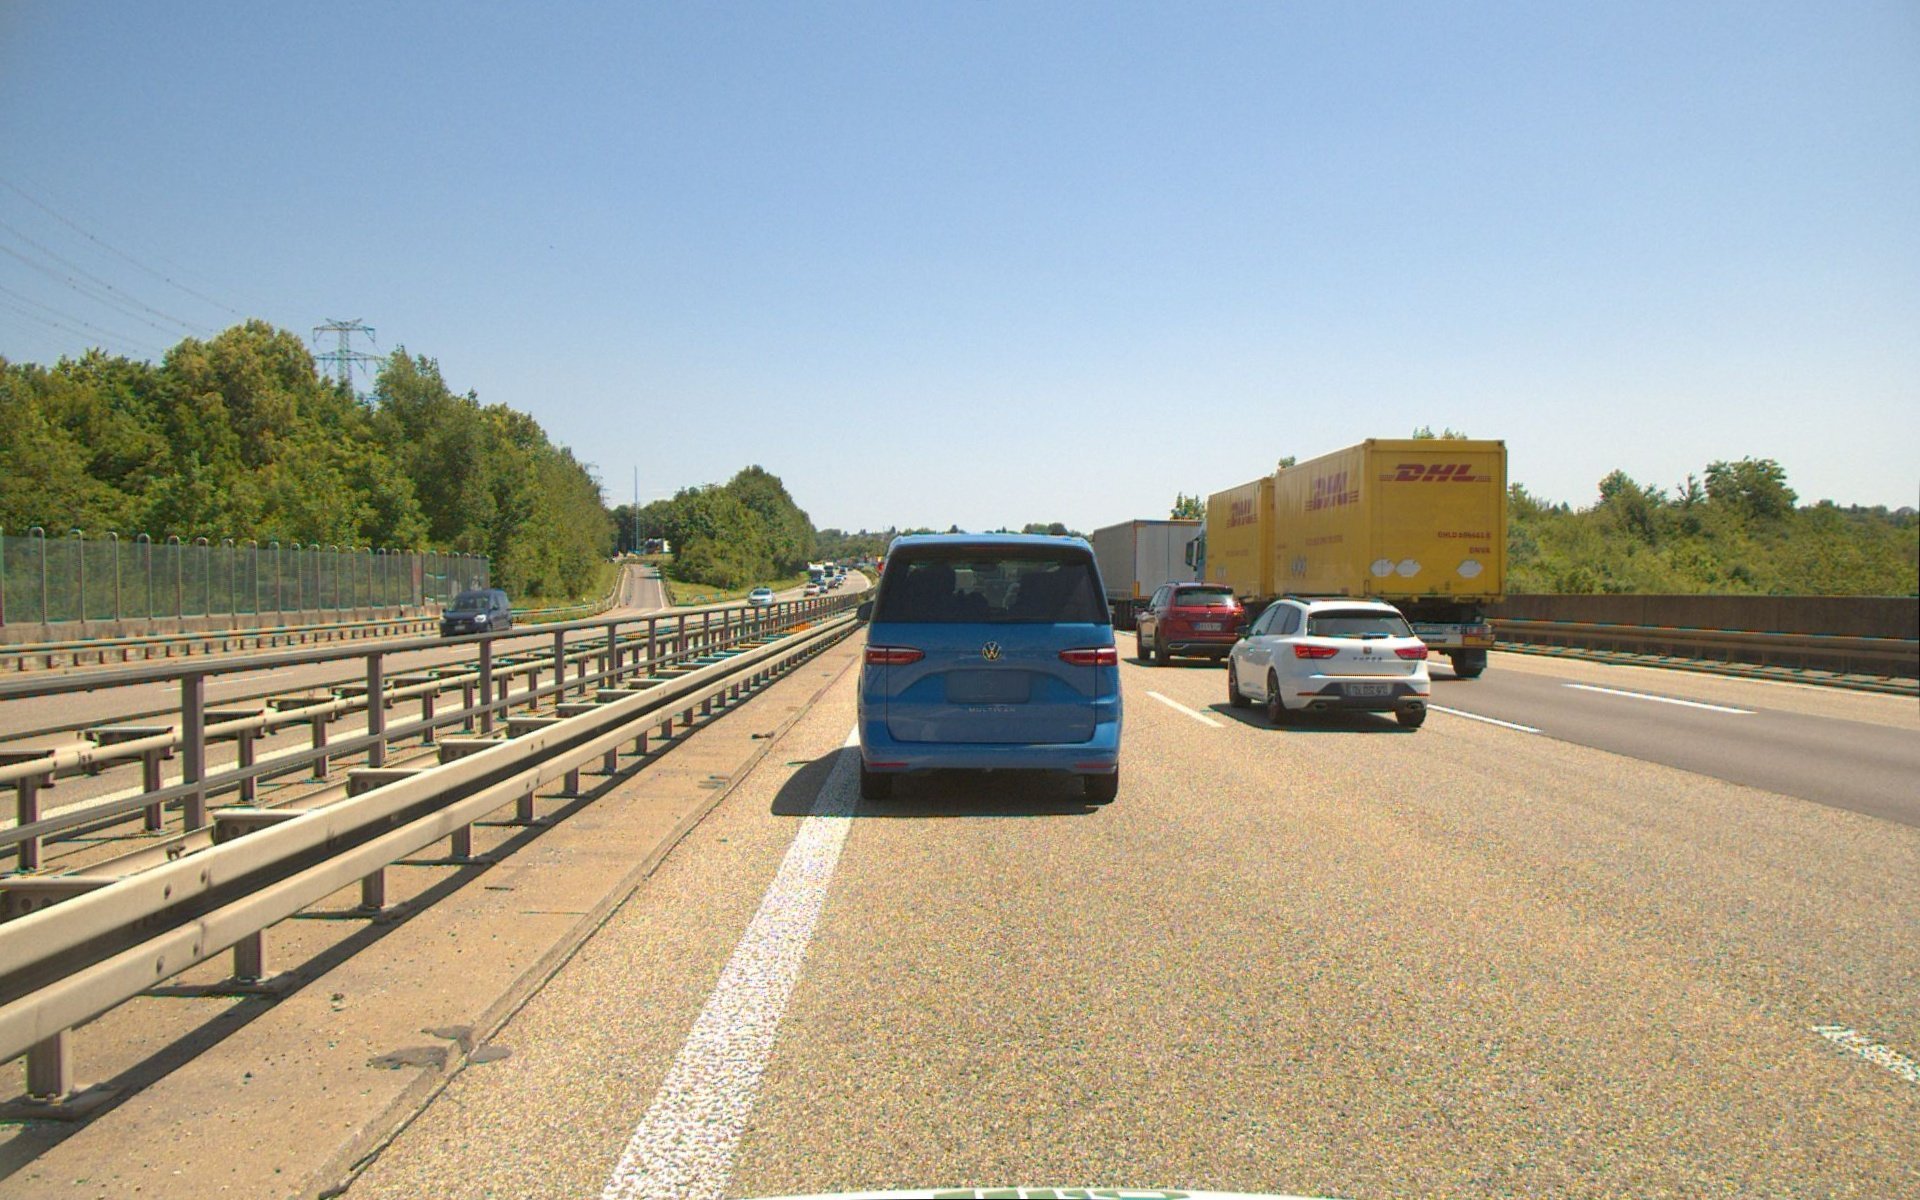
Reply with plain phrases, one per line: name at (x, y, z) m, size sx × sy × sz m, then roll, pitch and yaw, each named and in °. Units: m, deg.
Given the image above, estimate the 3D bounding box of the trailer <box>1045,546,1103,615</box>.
trailer at (6.605, -1.082, 97.468) m, size 2.331 × 3.809 × 11.185 m, roll 1°, pitch 0°, yaw -1°

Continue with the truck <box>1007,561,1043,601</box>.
truck at (5.590, -1.564, 143.580) m, size 2.308 × 3.275 × 9.736 m, roll 1°, pitch 0°, yaw -2°

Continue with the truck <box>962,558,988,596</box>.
truck at (1.985, -3.071, 222.279) m, size 2.777 × 4.971 × 13.214 m, roll -1°, pitch 1°, yaw -2°

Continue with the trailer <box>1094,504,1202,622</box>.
trailer at (7.259, -1.311, 65.421) m, size 2.699 × 4.218 × 11.309 m, roll 1°, pitch 0°, yaw -1°

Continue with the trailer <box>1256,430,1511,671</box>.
trailer at (8.073, -0.848, 32.873) m, size 2.646 × 4.094 × 8.929 m, roll 1°, pitch 0°, yaw -1°

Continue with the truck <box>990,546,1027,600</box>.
truck at (4.710, -2.550, 162.987) m, size 2.777 × 5.128 × 11.140 m, roll 1°, pitch 0°, yaw -2°

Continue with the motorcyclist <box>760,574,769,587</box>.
motorcyclist at (-21.453, -2.131, 181.216) m, size 0.880 × 1.466 × 1.082 m, roll -1°, pitch 1°, yaw -2°

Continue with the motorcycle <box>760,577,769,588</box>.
motorcycle at (-21.441, -1.927, 181.236) m, size 0.687 × 1.089 × 2.305 m, roll -1°, pitch 1°, yaw -1°

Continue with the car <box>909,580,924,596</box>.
car at (-5.791, -1.545, 218.647) m, size 1.953 × 2.049 × 3.999 m, roll 1°, pitch 0°, yaw -1°

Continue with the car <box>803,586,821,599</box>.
car at (-17.397, -0.851, 194.577) m, size 1.680 × 1.459 × 4.175 m, roll -3°, pitch 0°, yaw -1°

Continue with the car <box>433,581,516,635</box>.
car at (-17.271, 0.250, 59.053) m, size 1.746 × 1.816 × 4.301 m, roll -1°, pitch 0°, yaw -1°

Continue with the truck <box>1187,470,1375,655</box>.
truck at (7.962, -0.843, 42.502) m, size 2.667 × 4.125 × 10.334 m, roll 1°, pitch 0°, yaw -1°

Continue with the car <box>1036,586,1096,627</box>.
car at (3.877, 0.221, 61.076) m, size 1.801 × 1.438 × 3.998 m, roll 0°, pitch 0°, yaw -3°

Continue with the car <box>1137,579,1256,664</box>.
car at (4.763, 0.397, 33.860) m, size 1.813 × 1.636 × 3.999 m, roll 0°, pitch 0°, yaw -1°

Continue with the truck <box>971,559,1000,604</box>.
truck at (2.985, -2.077, 196.068) m, size 2.777 × 5.128 × 11.811 m, roll 1°, pitch 0°, yaw -2°

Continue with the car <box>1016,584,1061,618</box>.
car at (3.821, 0.033, 80.900) m, size 1.682 × 1.614 × 3.816 m, roll -1°, pitch 0°, yaw -6°

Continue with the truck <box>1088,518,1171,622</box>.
truck at (7.159, -1.209, 70.746) m, size 2.712 × 4.167 × 6.983 m, roll 1°, pitch 0°, yaw -1°

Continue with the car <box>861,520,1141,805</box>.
car at (0.242, 0.400, 12.931) m, size 1.844 × 1.869 × 3.999 m, roll 0°, pitch 0°, yaw -1°

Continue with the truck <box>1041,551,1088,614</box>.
truck at (6.476, -1.060, 103.287) m, size 2.320 × 3.787 × 6.031 m, roll 1°, pitch 0°, yaw -1°

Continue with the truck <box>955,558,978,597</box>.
truck at (0.899, -3.256, 241.598) m, size 2.777 × 5.466 × 12.549 m, roll 1°, pitch 0°, yaw -2°

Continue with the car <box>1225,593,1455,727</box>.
car at (4.418, 0.634, 19.854) m, size 1.745 × 1.411 × 4.187 m, roll 0°, pitch 0°, yaw -1°

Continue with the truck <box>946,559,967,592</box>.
truck at (-0.592, -3.873, 265.282) m, size 2.777 × 5.128 × 12.907 m, roll -1°, pitch 0°, yaw -2°

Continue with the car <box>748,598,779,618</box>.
car at (-14.632, 0.590, 123.520) m, size 1.872 × 1.418 × 4.164 m, roll -2°, pitch 0°, yaw -1°
